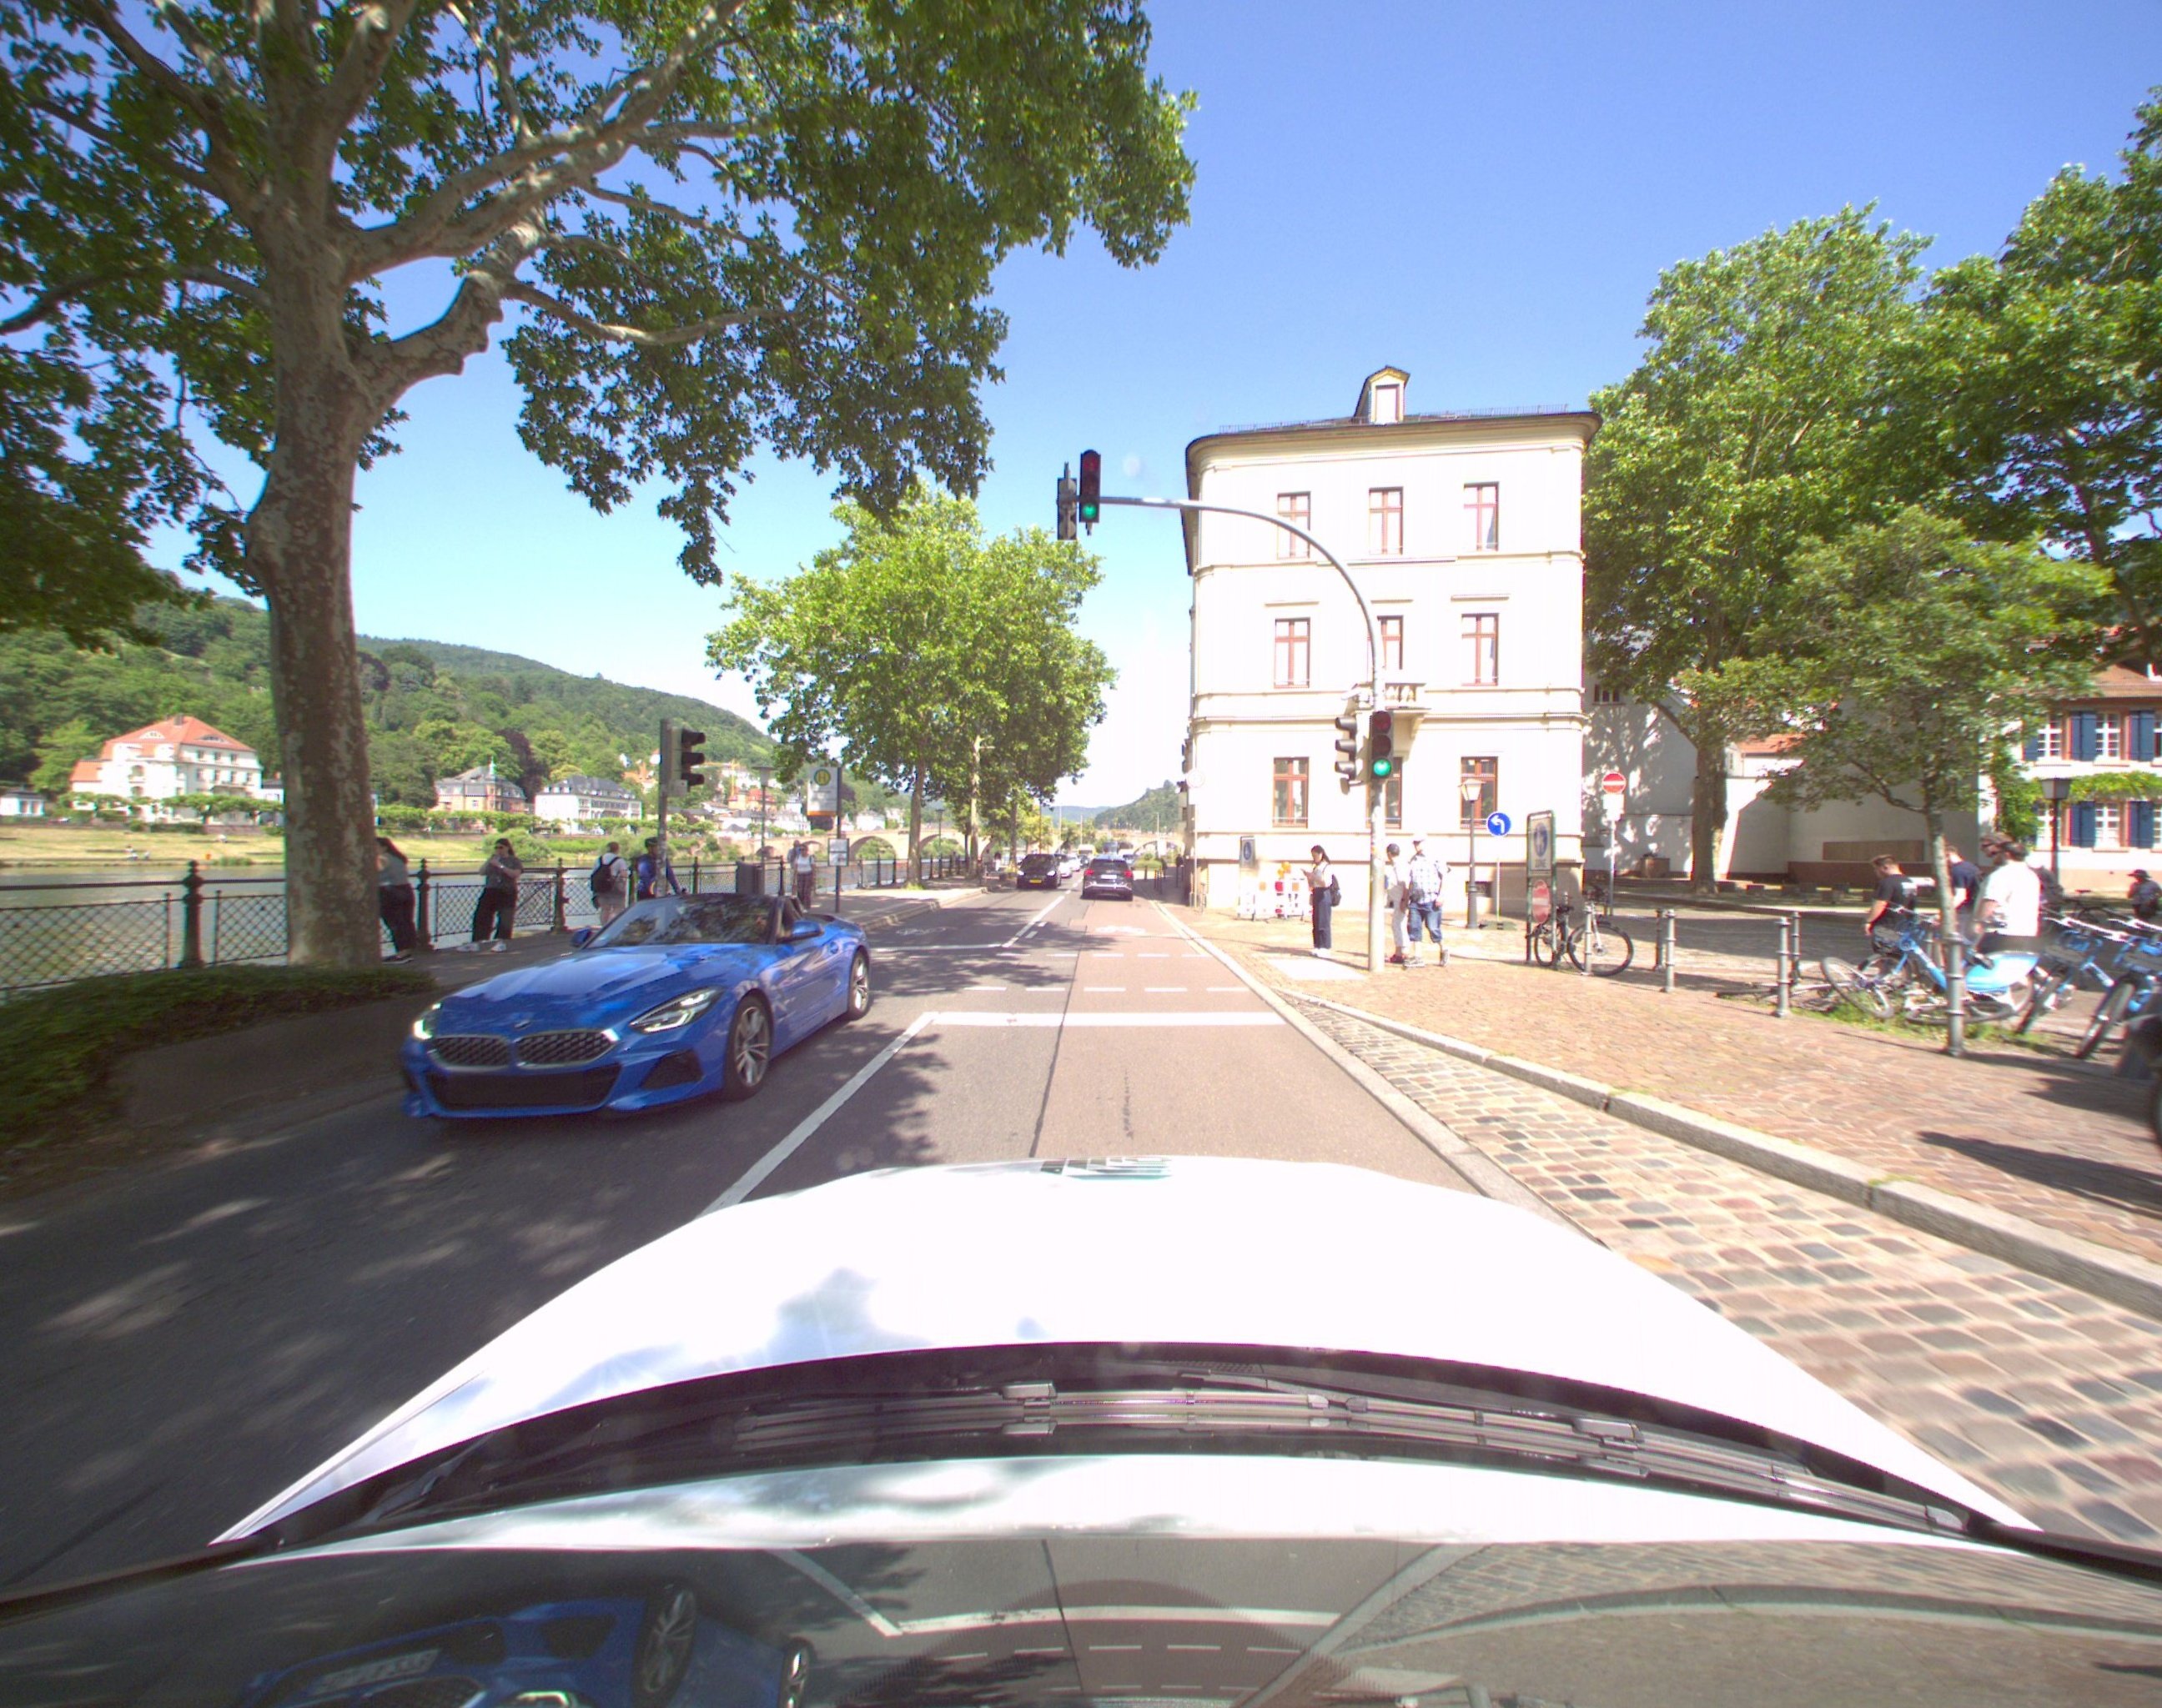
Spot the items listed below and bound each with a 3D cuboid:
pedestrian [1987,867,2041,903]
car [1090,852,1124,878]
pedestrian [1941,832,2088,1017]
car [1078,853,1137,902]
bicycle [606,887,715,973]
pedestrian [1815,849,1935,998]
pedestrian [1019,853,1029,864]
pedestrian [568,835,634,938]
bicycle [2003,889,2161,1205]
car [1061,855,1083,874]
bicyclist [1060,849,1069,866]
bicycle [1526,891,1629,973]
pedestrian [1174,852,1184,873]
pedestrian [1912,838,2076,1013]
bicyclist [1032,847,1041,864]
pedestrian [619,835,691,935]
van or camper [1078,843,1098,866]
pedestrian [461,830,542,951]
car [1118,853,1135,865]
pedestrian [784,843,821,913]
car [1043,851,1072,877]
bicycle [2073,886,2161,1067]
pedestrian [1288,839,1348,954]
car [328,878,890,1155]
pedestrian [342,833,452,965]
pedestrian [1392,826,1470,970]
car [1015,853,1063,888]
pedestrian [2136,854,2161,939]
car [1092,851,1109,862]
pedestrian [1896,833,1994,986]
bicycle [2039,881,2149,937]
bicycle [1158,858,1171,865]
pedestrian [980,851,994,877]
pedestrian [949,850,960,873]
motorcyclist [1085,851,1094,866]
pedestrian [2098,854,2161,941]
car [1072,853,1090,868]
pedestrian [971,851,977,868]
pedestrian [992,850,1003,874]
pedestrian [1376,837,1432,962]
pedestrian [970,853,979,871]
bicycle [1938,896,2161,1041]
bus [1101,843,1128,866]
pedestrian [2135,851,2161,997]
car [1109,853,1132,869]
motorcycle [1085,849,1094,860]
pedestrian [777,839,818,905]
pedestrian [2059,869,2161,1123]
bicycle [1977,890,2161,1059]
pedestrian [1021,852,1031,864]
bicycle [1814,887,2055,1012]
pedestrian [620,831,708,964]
[{"bbox_3d":[30.409,1.000,26.569,0.975,1.147,0.819,0,0,34],"label":"pedestrian"},{"bbox_3d":[1.670,0.640,50.164,1.918,1.461,4.836,1,0,3],"label":"car"},{"bbox_3d":[10.514,0.746,9.197,0.656,1.960,0.933,1,-1,-22],"label":"pedestrian"},{"bbox_3d":[0.948,0.789,29.858,1.919,1.553,4.833,2,0,1],"label":"car"},{"bbox_3d":[-5.994,1.028,11.563,1.808,0.925,0.747,7,3,42],"label":"bicycle"},{"bbox_3d":[10.028,0.825,10.293,0.994,1.765,0.917,1,-1,-35],"label":"pedestrian"},{"bbox_3d":[-6.436,0.516,91.635,0.931,1.281,0.852,1,0,10],"label":"pedestrian"},{"bbox_3d":[-8.219,0.535,13.974,0.650,1.713,0.793,0,0,1],"label":"pedestrian"},{"bbox_3d":[4.349,0.719,2.490,0.688,1.129,2.005,1,0,-6],"label":"bicycle"},{"bbox_3d":[-0.741,0.869,68.976,1.695,1.445,4.092,2,1,1],"label":"car"},{"bbox_3d":[-1.516,0.310,75.059,0.763,1.531,1.026,2,2,3],"label":"bicyclist"},{"bbox_3d":[6.615,1.013,10.933,0.505,1.004,1.581,2,-3,4],"label":"bicycle"},{"bbox_3d":[8.044,0.712,66.852,0.758,1.713,0.697,-2,-1,5],"label":"pedestrian"},{"bbox_3d":[9.709,0.717,8.693,0.804,1.753,0.904,1,0,-15],"label":"pedestrian"},{"bbox_3d":[-4.232,0.127,77.637,0.716,1.583,1.090,1,0,4],"label":"bicyclist"},{"bbox_3d":[-7.546,0.543,14.462,0.832,1.713,0.783,1,0,1],"label":"pedestrian"},{"bbox_3d":[0.862,0.047,97.845,2.079,2.557,7.097,1,0,3],"label":"van or camper"},{"bbox_3d":[-8.481,0.525,11.946,0.616,1.700,0.696,2,0,1],"label":"pedestrian"},{"bbox_3d":[5.937,0.602,105.412,1.916,1.553,4.841,0,0,6],"label":"car"},{"bbox_3d":[-6.589,0.548,19.307,0.492,1.617,0.992,1,0,1],"label":"pedestrian"},{"bbox_3d":[-1.468,0.578,51.374,1.730,1.518,4.403,0,1,-1],"label":"car"},{"bbox_3d":[8.369,0.878,5.747,2.073,1.198,0.527,2,1,-1],"label":"bicycle"},{"bbox_3d":[3.558,0.622,12.267,0.713,1.675,0.682,1,0,1],"label":"pedestrian"},{"bbox_3d":[-2.981,0.915,6.409,1.834,1.269,4.262,-2,0,1],"label":"car"},{"bbox_3d":[-8.875,0.562,10.607,0.547,1.608,0.911,3,0,1],"label":"pedestrian"},{"bbox_3d":[4.700,0.566,10.954,0.620,1.852,0.723,1,-1,-28],"label":"pedestrian"},{"bbox_3d":[-1.880,0.726,37.595,1.694,1.518,4.408,-1,0,3],"label":"car"},{"bbox_3d":[23.948,0.932,17.749,0.858,1.852,0.807,1,0,8],"label":"pedestrian"},{"bbox_3d":[2.643,0.294,110.217,1.804,1.428,4.319,-1,0,7],"label":"car"},{"bbox_3d":[11.527,0.708,10.869,0.808,1.942,0.782,1,-1,-35],"label":"pedestrian"},{"bbox_3d":[22.714,1.222,18.282,1.805,1.209,0.322,0,0,9],"label":"bicycle"},{"bbox_3d":[11.432,1.048,111.354,1.801,0.878,0.503,3,1,5],"label":"bicycle"},{"bbox_3d":[-5.853,0.601,50.730,0.759,1.586,0.696,1,0,1],"label":"pedestrian"},{"bbox_3d":[-10.847,0.600,69.835,0.691,1.945,0.887,1,0,1],"label":"pedestrian"},{"bbox_3d":[0.894,0.495,88.440,0.876,1.583,1.024,1,0,-3],"label":"motorcyclist"},{"bbox_3d":[23.326,0.938,17.930,0.858,1.852,0.807,1,0,8],"label":"pedestrian"},{"bbox_3d":[0.040,0.647,82.486,1.694,1.458,4.004,0,0,2],"label":"car"},{"bbox_3d":[-9.770,0.490,74.375,0.412,1.597,0.452,1,-1,9],"label":"pedestrian"},{"bbox_3d":[-6.184,0.600,60.317,0.654,1.682,0.758,3,0,1],"label":"pedestrian"},{"bbox_3d":[4.573,0.622,11.552,0.525,1.712,0.665,1,0,1],"label":"pedestrian"},{"bbox_3d":[-9.767,0.702,74.729,0.689,1.616,0.665,1,0,9],"label":"pedestrian"},{"bbox_3d":[8.599,0.973,7.007,1.787,1.110,0.608,2,1,0],"label":"bicycle"},{"bbox_3d":[5.563,0.129,131.826,2.615,3.564,13.019,1,-1,10],"label":"bus"},{"bbox_3d":[13.372,0.845,9.562,0.755,1.760,0.960,1,0,1],"label":"pedestrian"},{"bbox_3d":[3.905,0.653,79.380,1.916,1.553,4.841,0,0,6],"label":"car"},{"bbox_3d":[0.919,0.045,88.736,0.881,1.077,2.327,0,2,-2],"label":"motorcycle"},{"bbox_3d":[-7.693,0.477,22.152,0.709,1.764,0.972,1,0,1],"label":"pedestrian"},{"bbox_3d":[5.968,0.733,4.229,0.957,1.282,0.693,1,0,-1],"label":"pedestrian"},{"bbox_3d":[8.375,0.931,6.349,2.073,1.198,0.608,2,1,0],"label":"bicycle"},{"bbox_3d":[-6.270,0.435,92.537,0.931,1.281,0.852,1,0,10],"label":"pedestrian"},{"bbox_3d":[8.482,0.931,8.135,1.787,1.110,0.563,2,1,0],"label":"bicycle"},{"bbox_3d":[-5.893,0.582,11.504,1.012,1.773,0.774,0,-1,42],"label":"pedestrian"}]
